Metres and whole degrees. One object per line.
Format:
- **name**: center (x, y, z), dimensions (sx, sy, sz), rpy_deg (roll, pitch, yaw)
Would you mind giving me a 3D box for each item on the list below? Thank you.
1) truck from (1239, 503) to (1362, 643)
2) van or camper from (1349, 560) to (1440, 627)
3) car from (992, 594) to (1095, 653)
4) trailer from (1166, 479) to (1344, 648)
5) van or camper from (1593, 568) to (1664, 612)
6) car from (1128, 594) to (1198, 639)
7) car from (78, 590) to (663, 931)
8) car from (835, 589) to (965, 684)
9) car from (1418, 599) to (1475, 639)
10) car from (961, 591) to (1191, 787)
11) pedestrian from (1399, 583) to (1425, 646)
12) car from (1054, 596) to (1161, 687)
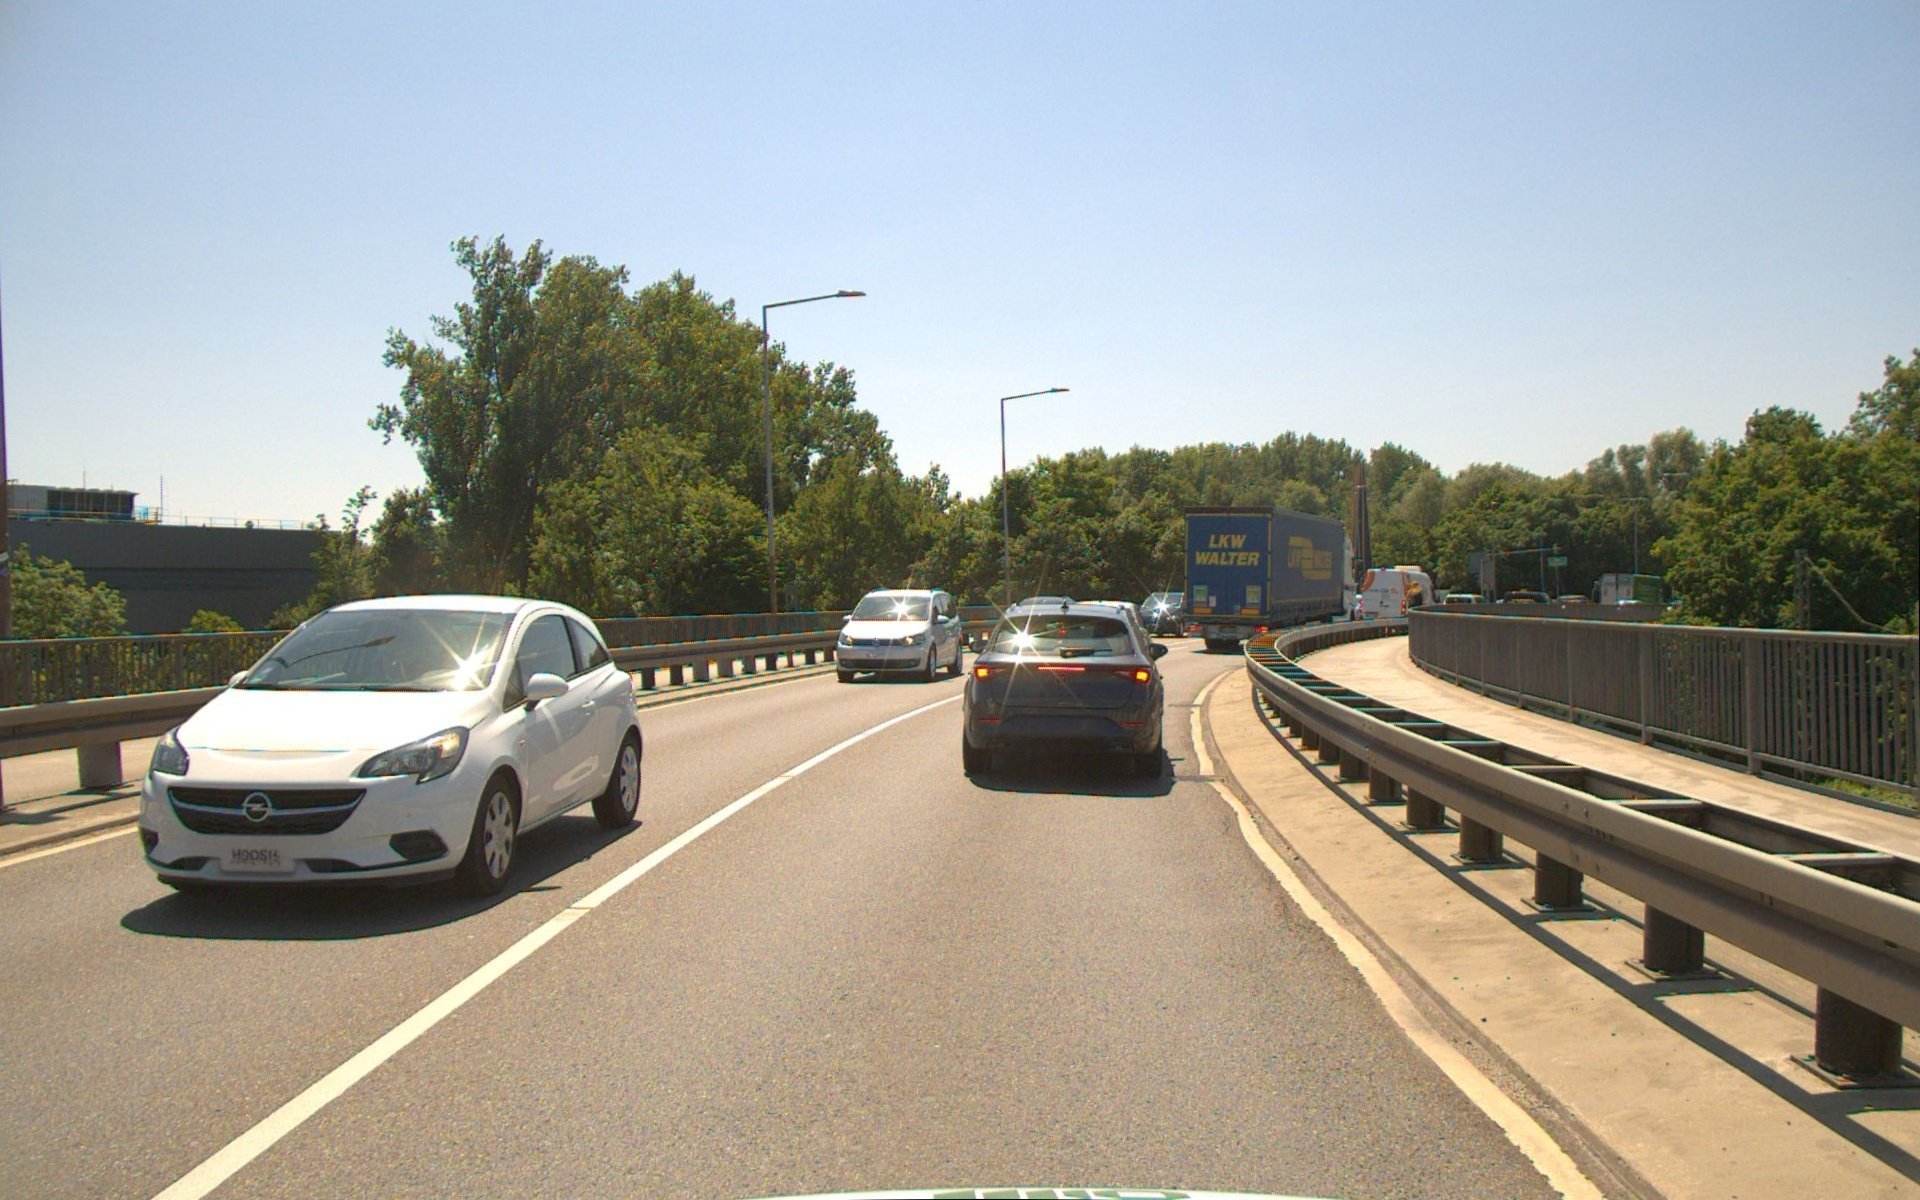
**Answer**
- **truck**: center (12.305, -0.863, 59.206), dimensions (3.105, 4.665, 7.396), rpy_deg (1, -1, 21)
- **van or camper**: center (18.720, -0.308, 71.027), dimensions (2.163, 2.758, 5.911), rpy_deg (1, 1, 32)
- **car**: center (2.329, 0.631, 45.001), dimensions (1.846, 1.523, 4.318), rpy_deg (0, -1, 16)
- **trailer**: center (9.637, -0.964, 52.363), dimensions (3.070, 4.695, 12.947), rpy_deg (1, 0, 21)
- **van or camper**: center (44.859, -0.665, 110.905), dimensions (4.922, 2.331, 2.453), rpy_deg (6, 1, -44)
- **car**: center (7.506, 0.609, 60.859), dimensions (1.866, 1.617, 4.002), rpy_deg (-1, -1, 18)
- **car**: center (-2.995, 0.730, 9.337), dimensions (1.689, 1.509, 3.868), rpy_deg (-1, 0, 4)
- **car**: center (-1.048, 0.650, 31.000), dimensions (1.679, 1.643, 4.122), rpy_deg (0, 0, 9)
- **car**: center (23.584, 0.935, 80.159), dimensions (1.853, 1.882, 3.993), rpy_deg (1, -1, 29)
- **car**: center (0.983, 0.699, 15.012), dimensions (1.807, 1.525, 3.759), rpy_deg (1, 0, 2)
- **pedestrian**: center (14.536, 0.461, 53.148), dimensions (0.721, 2.002, 0.734), rpy_deg (1, -1, 21)
- **car**: center (2.662, 0.703, 29.336), dimensions (1.559, 1.486, 3.547), rpy_deg (1, 0, 10)
